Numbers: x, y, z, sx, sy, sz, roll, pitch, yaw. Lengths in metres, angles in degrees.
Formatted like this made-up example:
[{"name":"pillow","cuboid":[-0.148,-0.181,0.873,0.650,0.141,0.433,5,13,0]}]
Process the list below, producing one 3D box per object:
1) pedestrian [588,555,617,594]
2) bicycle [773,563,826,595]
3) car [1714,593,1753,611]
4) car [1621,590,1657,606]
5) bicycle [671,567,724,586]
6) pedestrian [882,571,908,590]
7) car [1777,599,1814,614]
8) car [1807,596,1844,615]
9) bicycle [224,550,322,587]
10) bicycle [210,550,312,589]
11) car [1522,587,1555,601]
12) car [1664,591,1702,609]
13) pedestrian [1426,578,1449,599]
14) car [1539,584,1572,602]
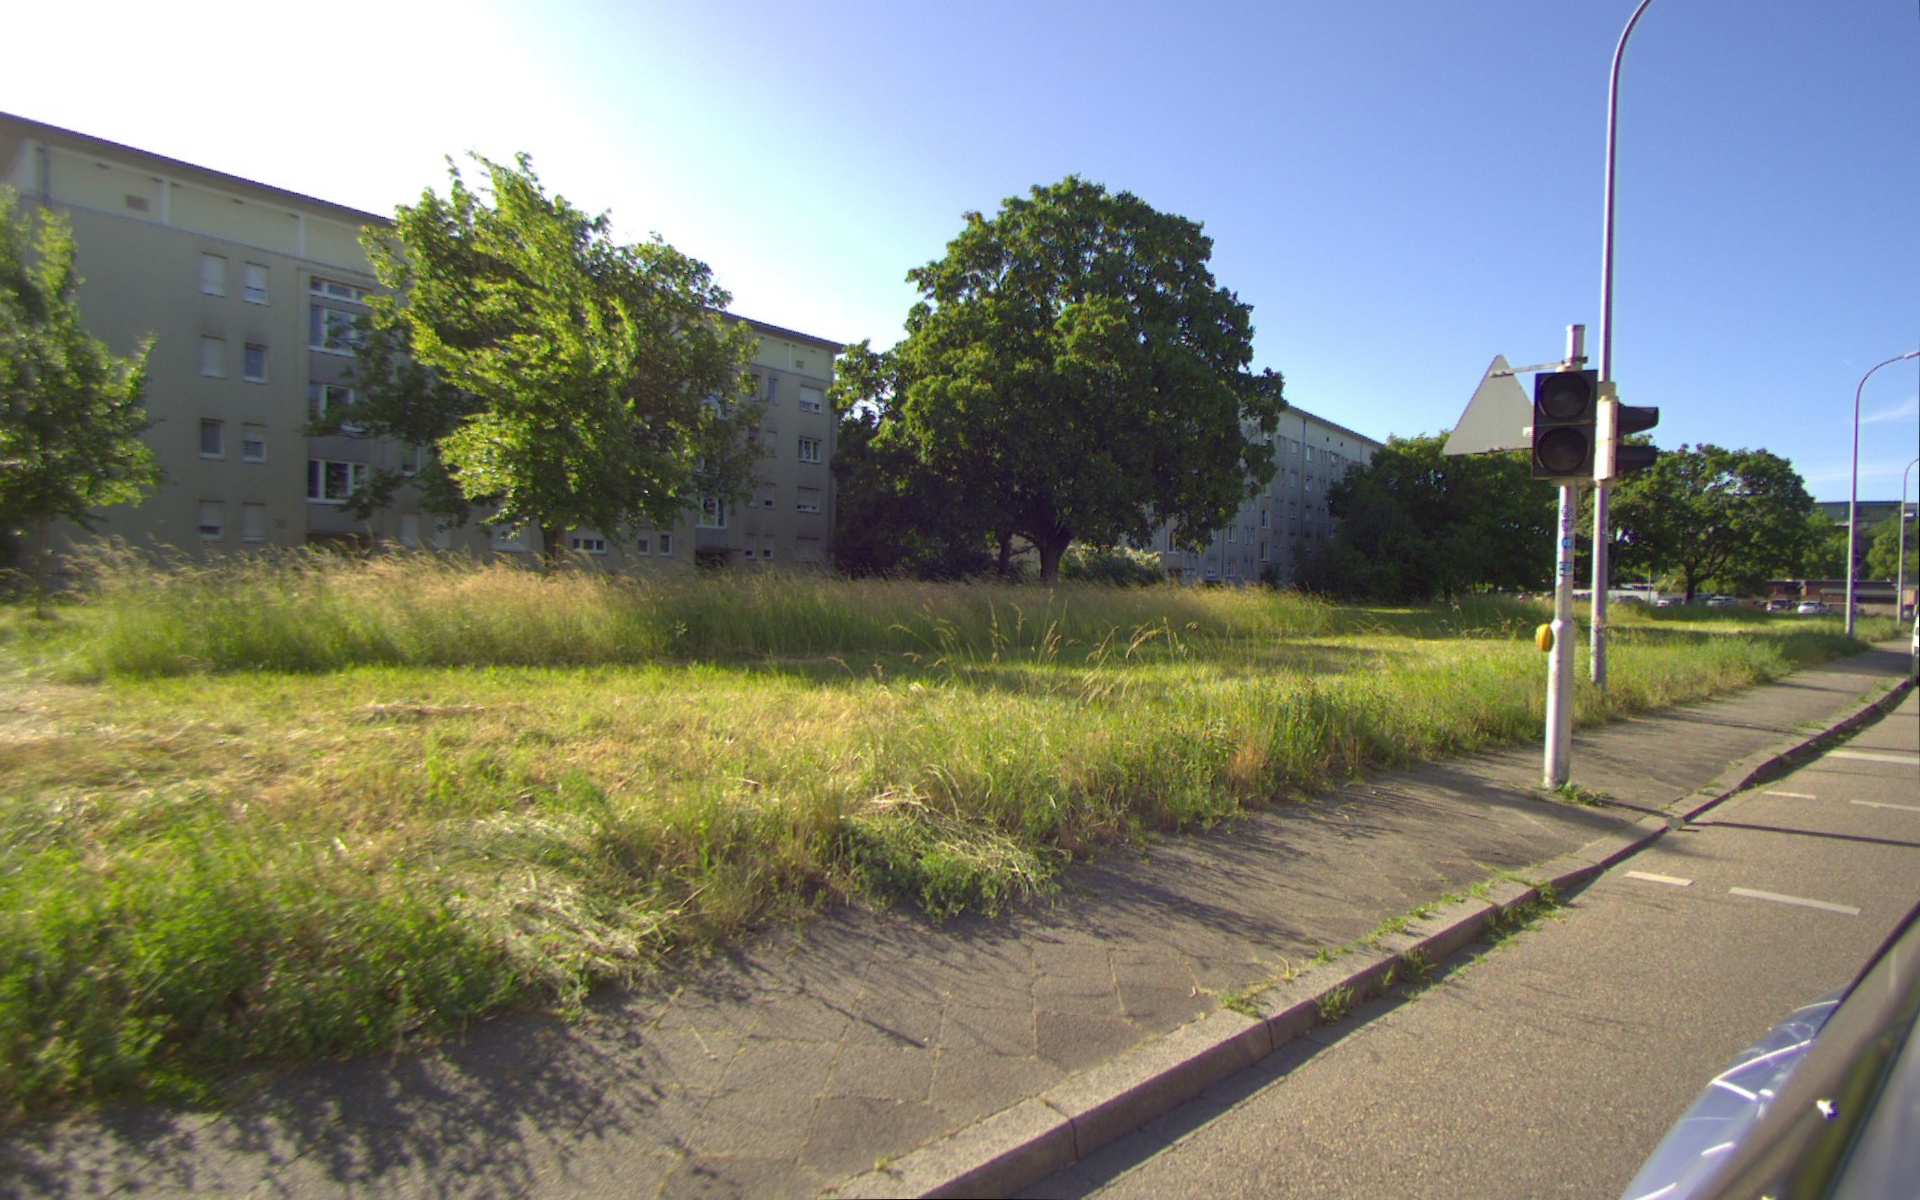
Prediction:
[{"name":"pedestrian","cuboid":[-14.124,-1.006,39.992,0.752,1.475,0.758,3,2,36]},{"name":"bicycle","cuboid":[-7.981,-1.030,50.411,0.779,1.544,2.715,3,3,40]},{"name":"car","cuboid":[82.920,0.244,108.479,3.920,1.795,1.864,1,2,-31]},{"name":"car","cuboid":[78.991,-0.228,117.678,3.921,1.795,1.960,-1,3,-31]},{"name":"bicycle","cuboid":[-11.954,-1.069,46.127,2.265,0.822,0.693,0,2,-44]},{"name":"pedestrian","cuboid":[-3.043,-0.925,47.222,0.741,0.859,0.990,3,2,39]},{"name":"car","cuboid":[85.932,0.667,104.076,3.923,1.340,1.783,1,2,-34]},{"name":"car","cuboid":[87.383,0.556,102.171,3.925,1.882,1.957,1,2,-36]},{"name":"bicycle","cuboid":[-23.340,-1.060,34.462,0.930,1.219,2.676,2,2,23]},{"name":"bicycle","cuboid":[-22.919,-0.998,33.245,0.930,1.219,2.676,2,2,23]},{"name":"car","cuboid":[73.395,-0.750,128.418,3.920,1.580,1.960,1,2,-31]},{"name":"car","cuboid":[80.955,0.019,113.306,3.920,1.795,1.960,1,2,-31]},{"name":"pedestrian","cuboid":[48.726,-1.184,103.210,1.669,2.056,1.489,1,2,-41]},{"name":"car","cuboid":[74.263,-0.843,126.226,3.922,2.038,2.002,1,2,-33]}]
